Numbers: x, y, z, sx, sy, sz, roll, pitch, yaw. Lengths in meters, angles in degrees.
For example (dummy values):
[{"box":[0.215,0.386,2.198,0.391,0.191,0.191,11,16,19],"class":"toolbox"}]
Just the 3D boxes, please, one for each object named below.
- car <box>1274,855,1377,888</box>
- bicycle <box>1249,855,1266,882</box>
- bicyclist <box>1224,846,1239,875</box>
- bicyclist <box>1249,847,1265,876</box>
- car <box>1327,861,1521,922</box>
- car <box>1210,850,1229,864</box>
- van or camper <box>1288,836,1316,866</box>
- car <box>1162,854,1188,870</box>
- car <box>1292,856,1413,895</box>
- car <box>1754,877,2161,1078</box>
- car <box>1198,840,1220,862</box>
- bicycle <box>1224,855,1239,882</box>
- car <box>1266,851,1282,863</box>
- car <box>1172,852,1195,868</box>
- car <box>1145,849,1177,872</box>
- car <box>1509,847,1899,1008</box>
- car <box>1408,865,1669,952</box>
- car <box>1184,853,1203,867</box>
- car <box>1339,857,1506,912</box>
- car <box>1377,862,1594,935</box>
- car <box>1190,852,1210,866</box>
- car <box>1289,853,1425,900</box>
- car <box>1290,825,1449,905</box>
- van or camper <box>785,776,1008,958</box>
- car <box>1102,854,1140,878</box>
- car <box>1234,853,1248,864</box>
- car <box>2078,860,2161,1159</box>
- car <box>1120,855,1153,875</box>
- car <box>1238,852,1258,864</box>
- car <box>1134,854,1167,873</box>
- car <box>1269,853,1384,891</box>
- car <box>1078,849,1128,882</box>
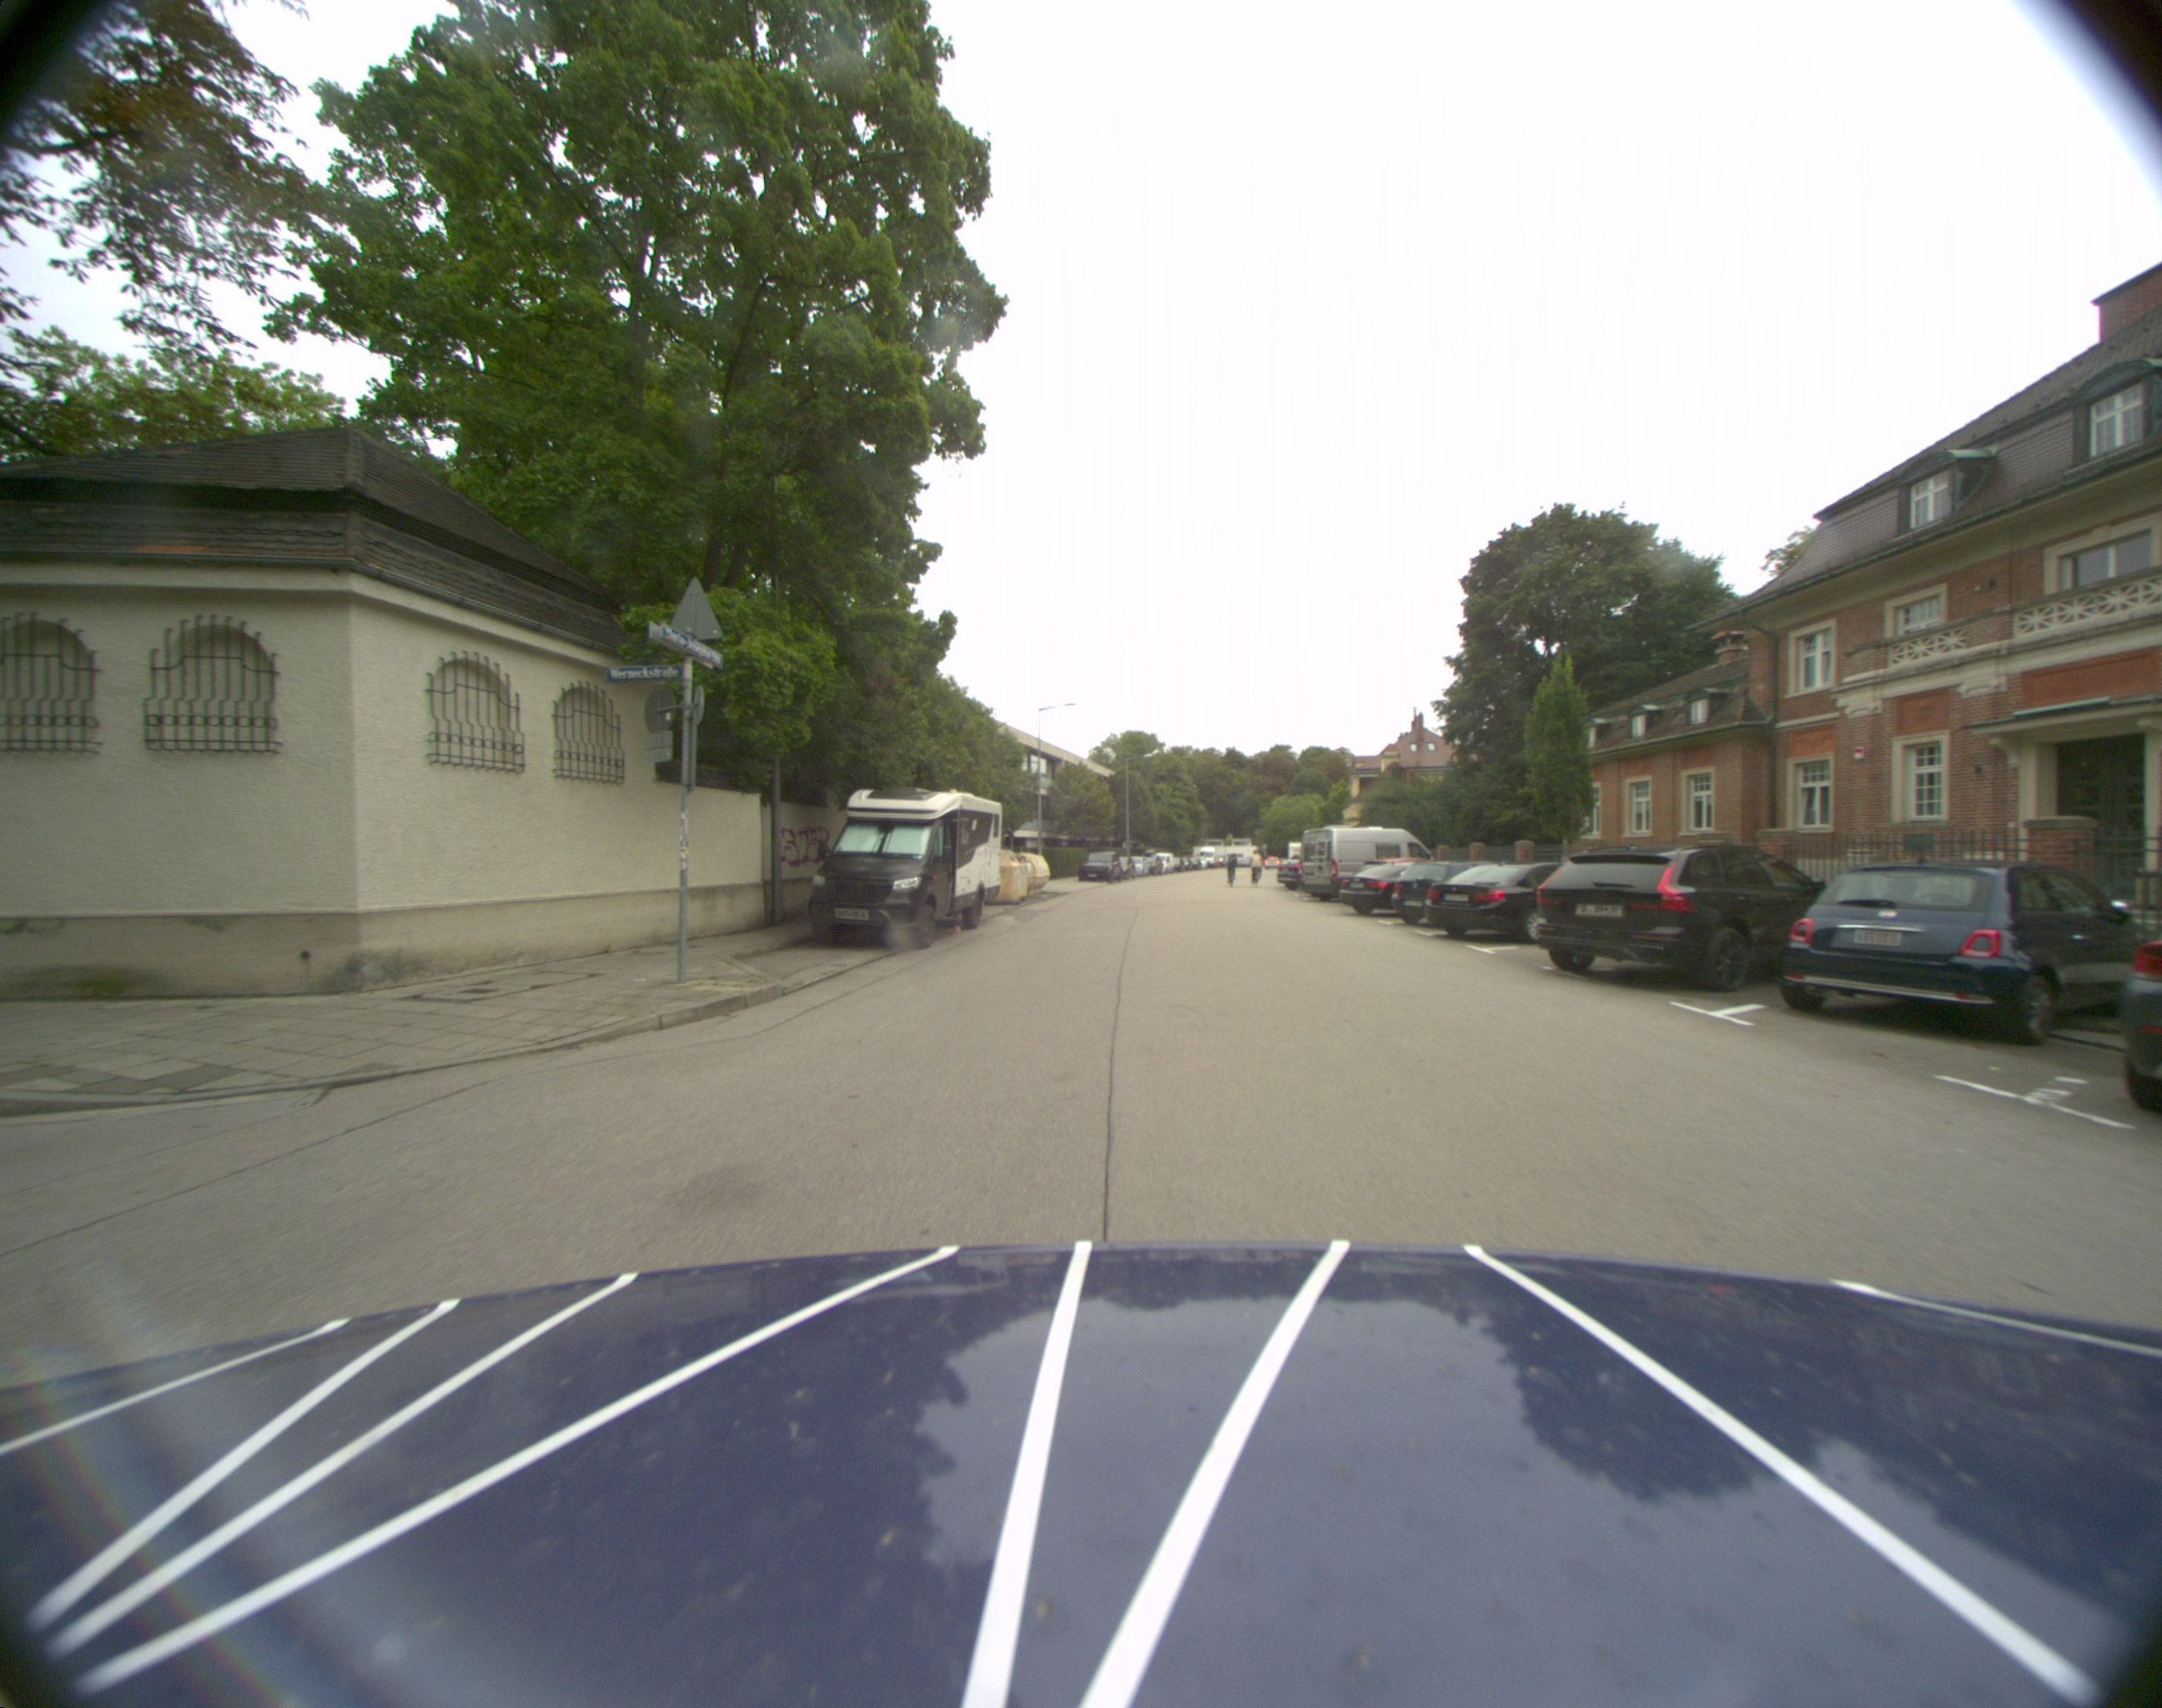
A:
[{"box":[11.710,0.825,36.625,4.341,1.521,1.933,0,2,3],"class":"car"},{"box":[8.546,0.682,36.843,0.708,1.298,2.120,0,0,10],"class":"bicycle"},{"box":[7.268,0.313,36.620,0.698,1.344,0.931,0,1,11],"class":"bicyclist"},{"box":[8.527,0.364,36.818,0.698,1.389,0.931,0,1,10],"class":"bicyclist"},{"box":[8.932,0.928,19.829,4.532,1.442,1.974,1,0,-21],"class":"car"},{"box":[19.389,0.466,106.365,1.937,1.894,5.079,2,0,18],"class":"car"},{"box":[22.962,-0.340,78.785,2.457,2.924,7.221,2,1,18],"class":"van or camper"},{"box":[9.047,0.715,72.707,1.750,1.455,4.248,0,0,16],"class":"car"},{"box":[11.216,0.898,31.476,4.426,1.478,1.830,1,2,-16],"class":"car"},{"box":[8.956,1.011,7.409,4.335,1.463,1.816,1,0,-22],"class":"car"},{"box":[16.074,-0.374,95.374,2.082,2.671,6.096,2,0,15],"class":"car"},{"box":[7.285,0.680,36.802,0.707,1.298,2.120,0,0,12],"class":"bicycle"},{"box":[23.614,0.315,93.002,1.774,1.466,4.138,0,0,15],"class":"car"},{"box":[10.529,0.592,77.845,1.729,1.520,4.210,2,0,16],"class":"car"},{"box":[7.136,0.558,67.134,1.824,1.849,4.905,-1,0,18],"class":"car"},{"box":[7.976,0.783,9.733,4.533,1.655,1.983,1,1,-24],"class":"car"},{"box":[8.632,0.958,14.343,4.533,1.410,1.923,1,0,-24],"class":"car"},{"box":[12.268,0.632,83.019,1.282,1.497,5.214,2,0,16],"class":"car"},{"box":[10.386,0.878,23.162,4.531,1.508,1.934,0,1,-19],"class":"car"},{"box":[9.054,0.937,16.981,4.533,1.442,1.816,1,1,-24],"class":"car"},{"box":[13.957,0.557,89.002,1.873,1.560,5.007,2,0,14],"class":"car"},{"box":[10.441,0.838,28.809,4.530,1.616,1.963,1,2,-17],"class":"car"},{"box":[9.790,0.367,25.847,4.641,2.548,2.231,1,0,-17],"class":"car"},{"box":[-3.313,0.199,15.816,2.277,2.889,7.279,0,0,5],"class":"van or camper"},{"box":[2.798,0.790,52.245,1.750,1.530,4.574,0,0,14],"class":"car"},{"box":[24.500,0.686,116.606,1.895,1.437,4.273,-2,-2,10],"class":"car"},{"box":[7.989,0.819,4.338,4.533,1.558,1.885,0,1,-26],"class":"car"},{"box":[4.228,0.823,57.798,1.750,1.472,3.893,0,0,16],"class":"car"},{"box":[24.086,0.637,109.555,1.995,1.683,4.342,-2,-1,22],"class":"car"},{"box":[5.730,0.747,62.171,1.750,1.471,4.604,-1,0,16],"class":"car"},{"box":[10.951,0.820,33.963,4.530,1.584,1.962,1,1,-17],"class":"car"},{"box":[1.417,0.662,47.045,1.991,1.860,5.082,-1,1,14],"class":"car"}]
